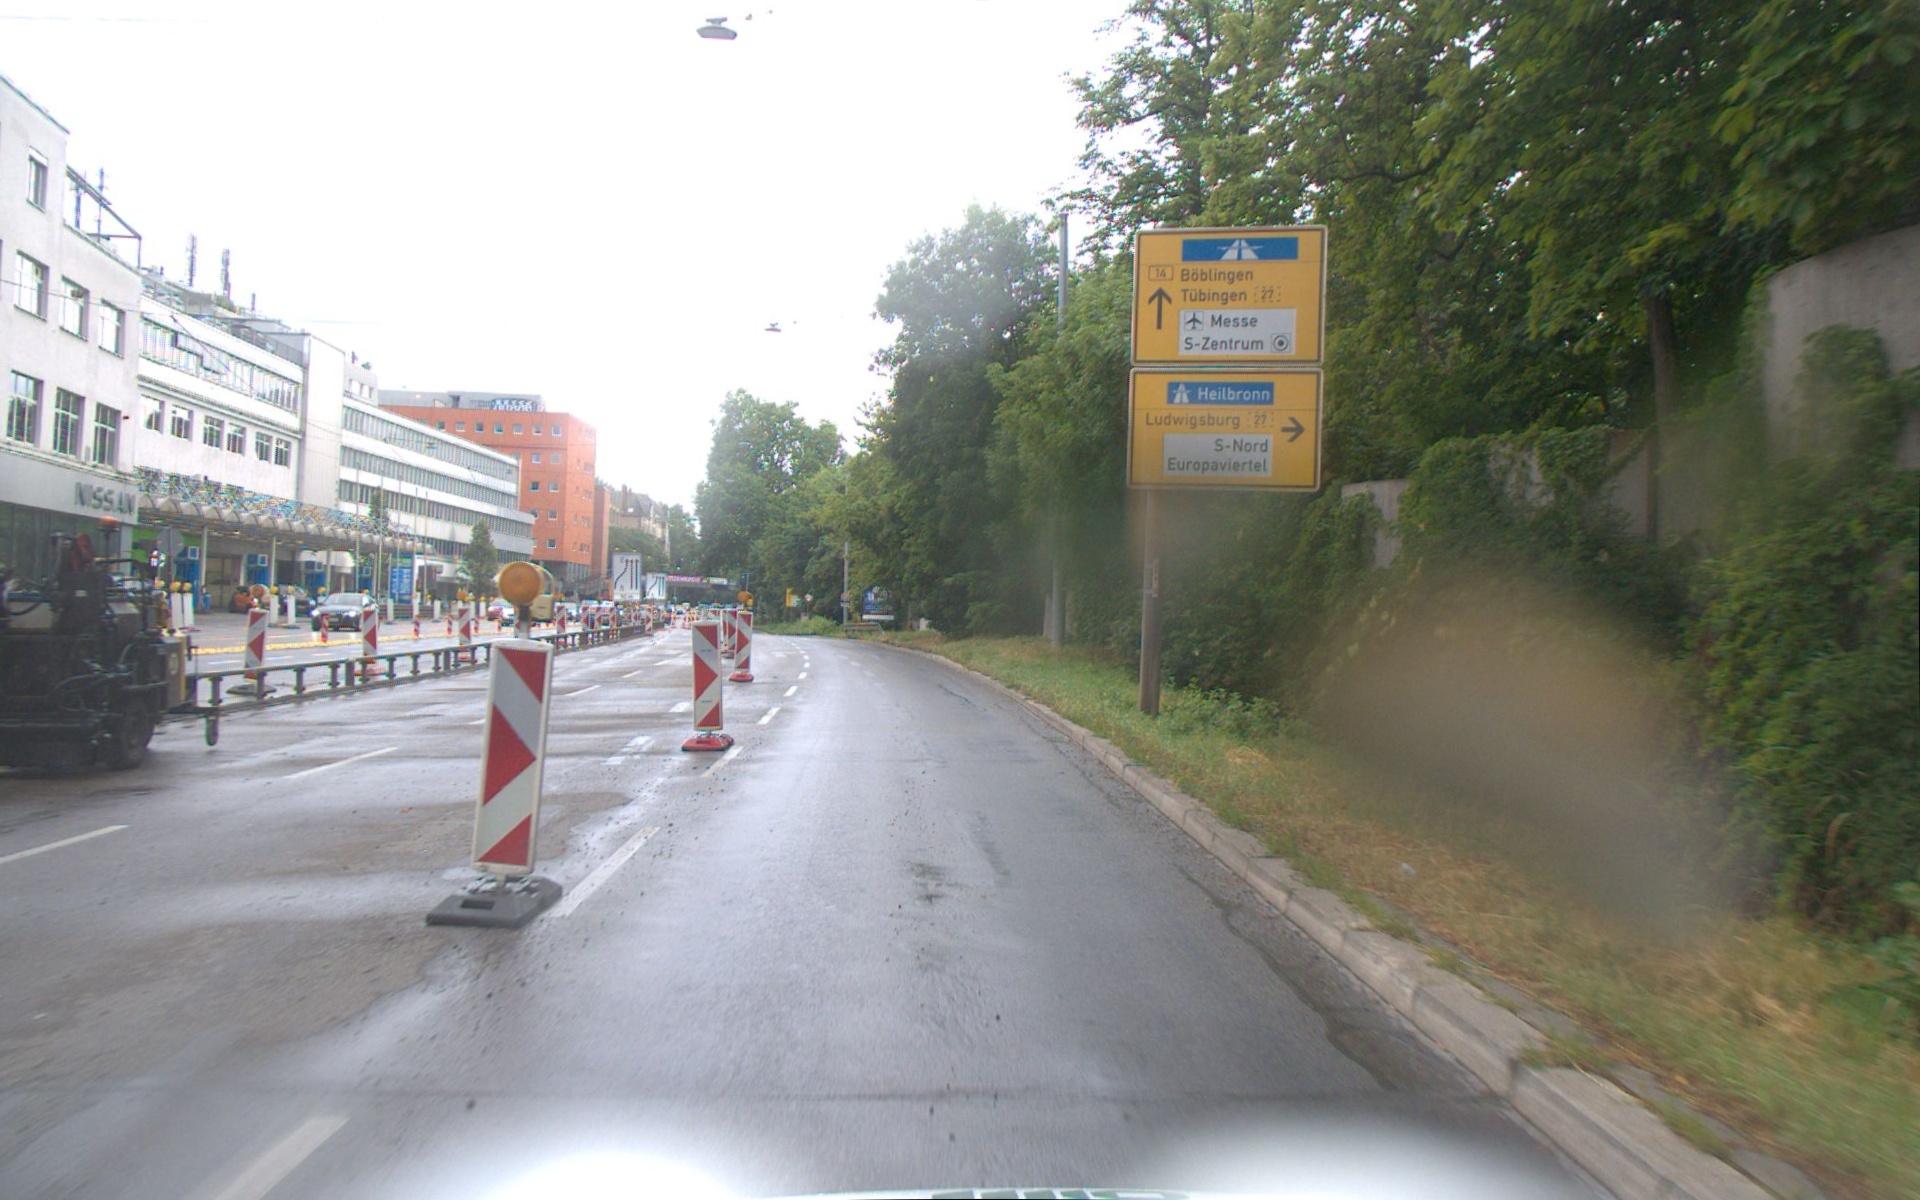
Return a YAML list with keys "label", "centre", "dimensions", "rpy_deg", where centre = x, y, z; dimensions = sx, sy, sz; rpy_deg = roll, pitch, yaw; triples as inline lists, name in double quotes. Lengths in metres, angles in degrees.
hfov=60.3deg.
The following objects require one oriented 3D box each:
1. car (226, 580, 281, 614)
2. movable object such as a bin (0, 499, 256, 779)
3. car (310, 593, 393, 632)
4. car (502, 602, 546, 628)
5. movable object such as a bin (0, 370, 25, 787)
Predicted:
- label: "car"
  centre: [-38.935, -0.161, 91.110]
  dimensions: [1.787, 1.684, 3.947]
  rpy_deg: [5, -1, -38]
- label: "movable object such as a bin"
  centre: [-7.704, 0.300, 14.587]
  dimensions: [1.681, 2.187, 3.347]
  rpy_deg: [0, 0, -3]
- label: "car"
  centre: [-23.177, 0.480, 63.186]
  dimensions: [1.727, 1.430, 4.248]
  rpy_deg: [1, -1, -3]
- label: "car"
  centre: [-24.117, 0.808, 91.606]
  dimensions: [1.745, 1.405, 4.449]
  rpy_deg: [1, 0, -7]
- label: "movable object such as a bin"
  centre: [-7.736, -0.155, 10.581]
  dimensions: [1.436, 3.061, 3.723]
  rpy_deg: [0, 0, -1]
